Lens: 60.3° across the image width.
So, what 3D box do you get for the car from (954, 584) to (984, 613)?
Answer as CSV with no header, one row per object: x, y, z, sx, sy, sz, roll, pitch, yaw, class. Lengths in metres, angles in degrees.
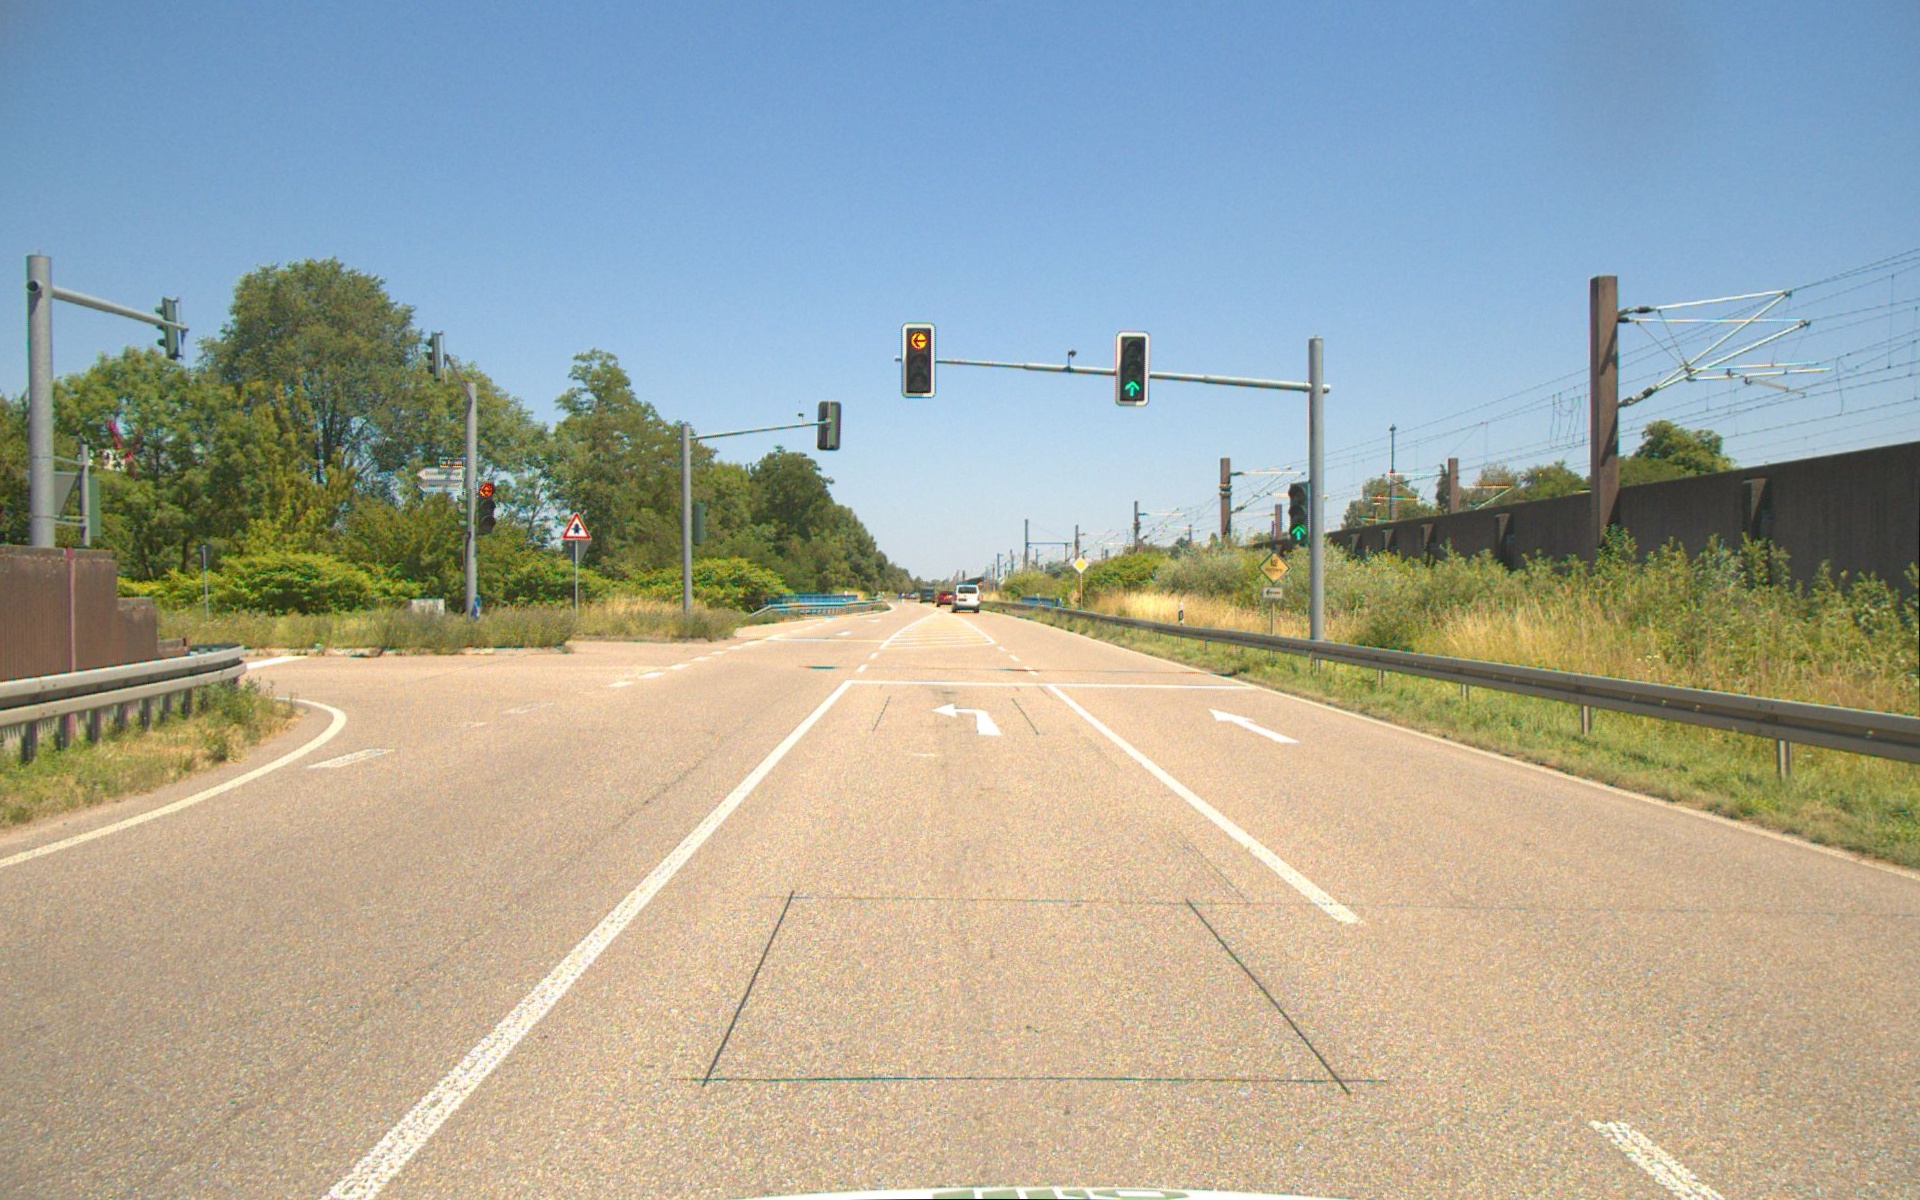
0.611,-0.133,117.325,1.953,2.018,4.058,1,0,-2,car

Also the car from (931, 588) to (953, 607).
-1.727,-0.253,161.518,1.979,1.756,4.540,1,0,-3,car

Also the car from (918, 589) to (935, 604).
-4.429,-0.445,218.176,2.112,2.002,4.540,1,0,-3,car
